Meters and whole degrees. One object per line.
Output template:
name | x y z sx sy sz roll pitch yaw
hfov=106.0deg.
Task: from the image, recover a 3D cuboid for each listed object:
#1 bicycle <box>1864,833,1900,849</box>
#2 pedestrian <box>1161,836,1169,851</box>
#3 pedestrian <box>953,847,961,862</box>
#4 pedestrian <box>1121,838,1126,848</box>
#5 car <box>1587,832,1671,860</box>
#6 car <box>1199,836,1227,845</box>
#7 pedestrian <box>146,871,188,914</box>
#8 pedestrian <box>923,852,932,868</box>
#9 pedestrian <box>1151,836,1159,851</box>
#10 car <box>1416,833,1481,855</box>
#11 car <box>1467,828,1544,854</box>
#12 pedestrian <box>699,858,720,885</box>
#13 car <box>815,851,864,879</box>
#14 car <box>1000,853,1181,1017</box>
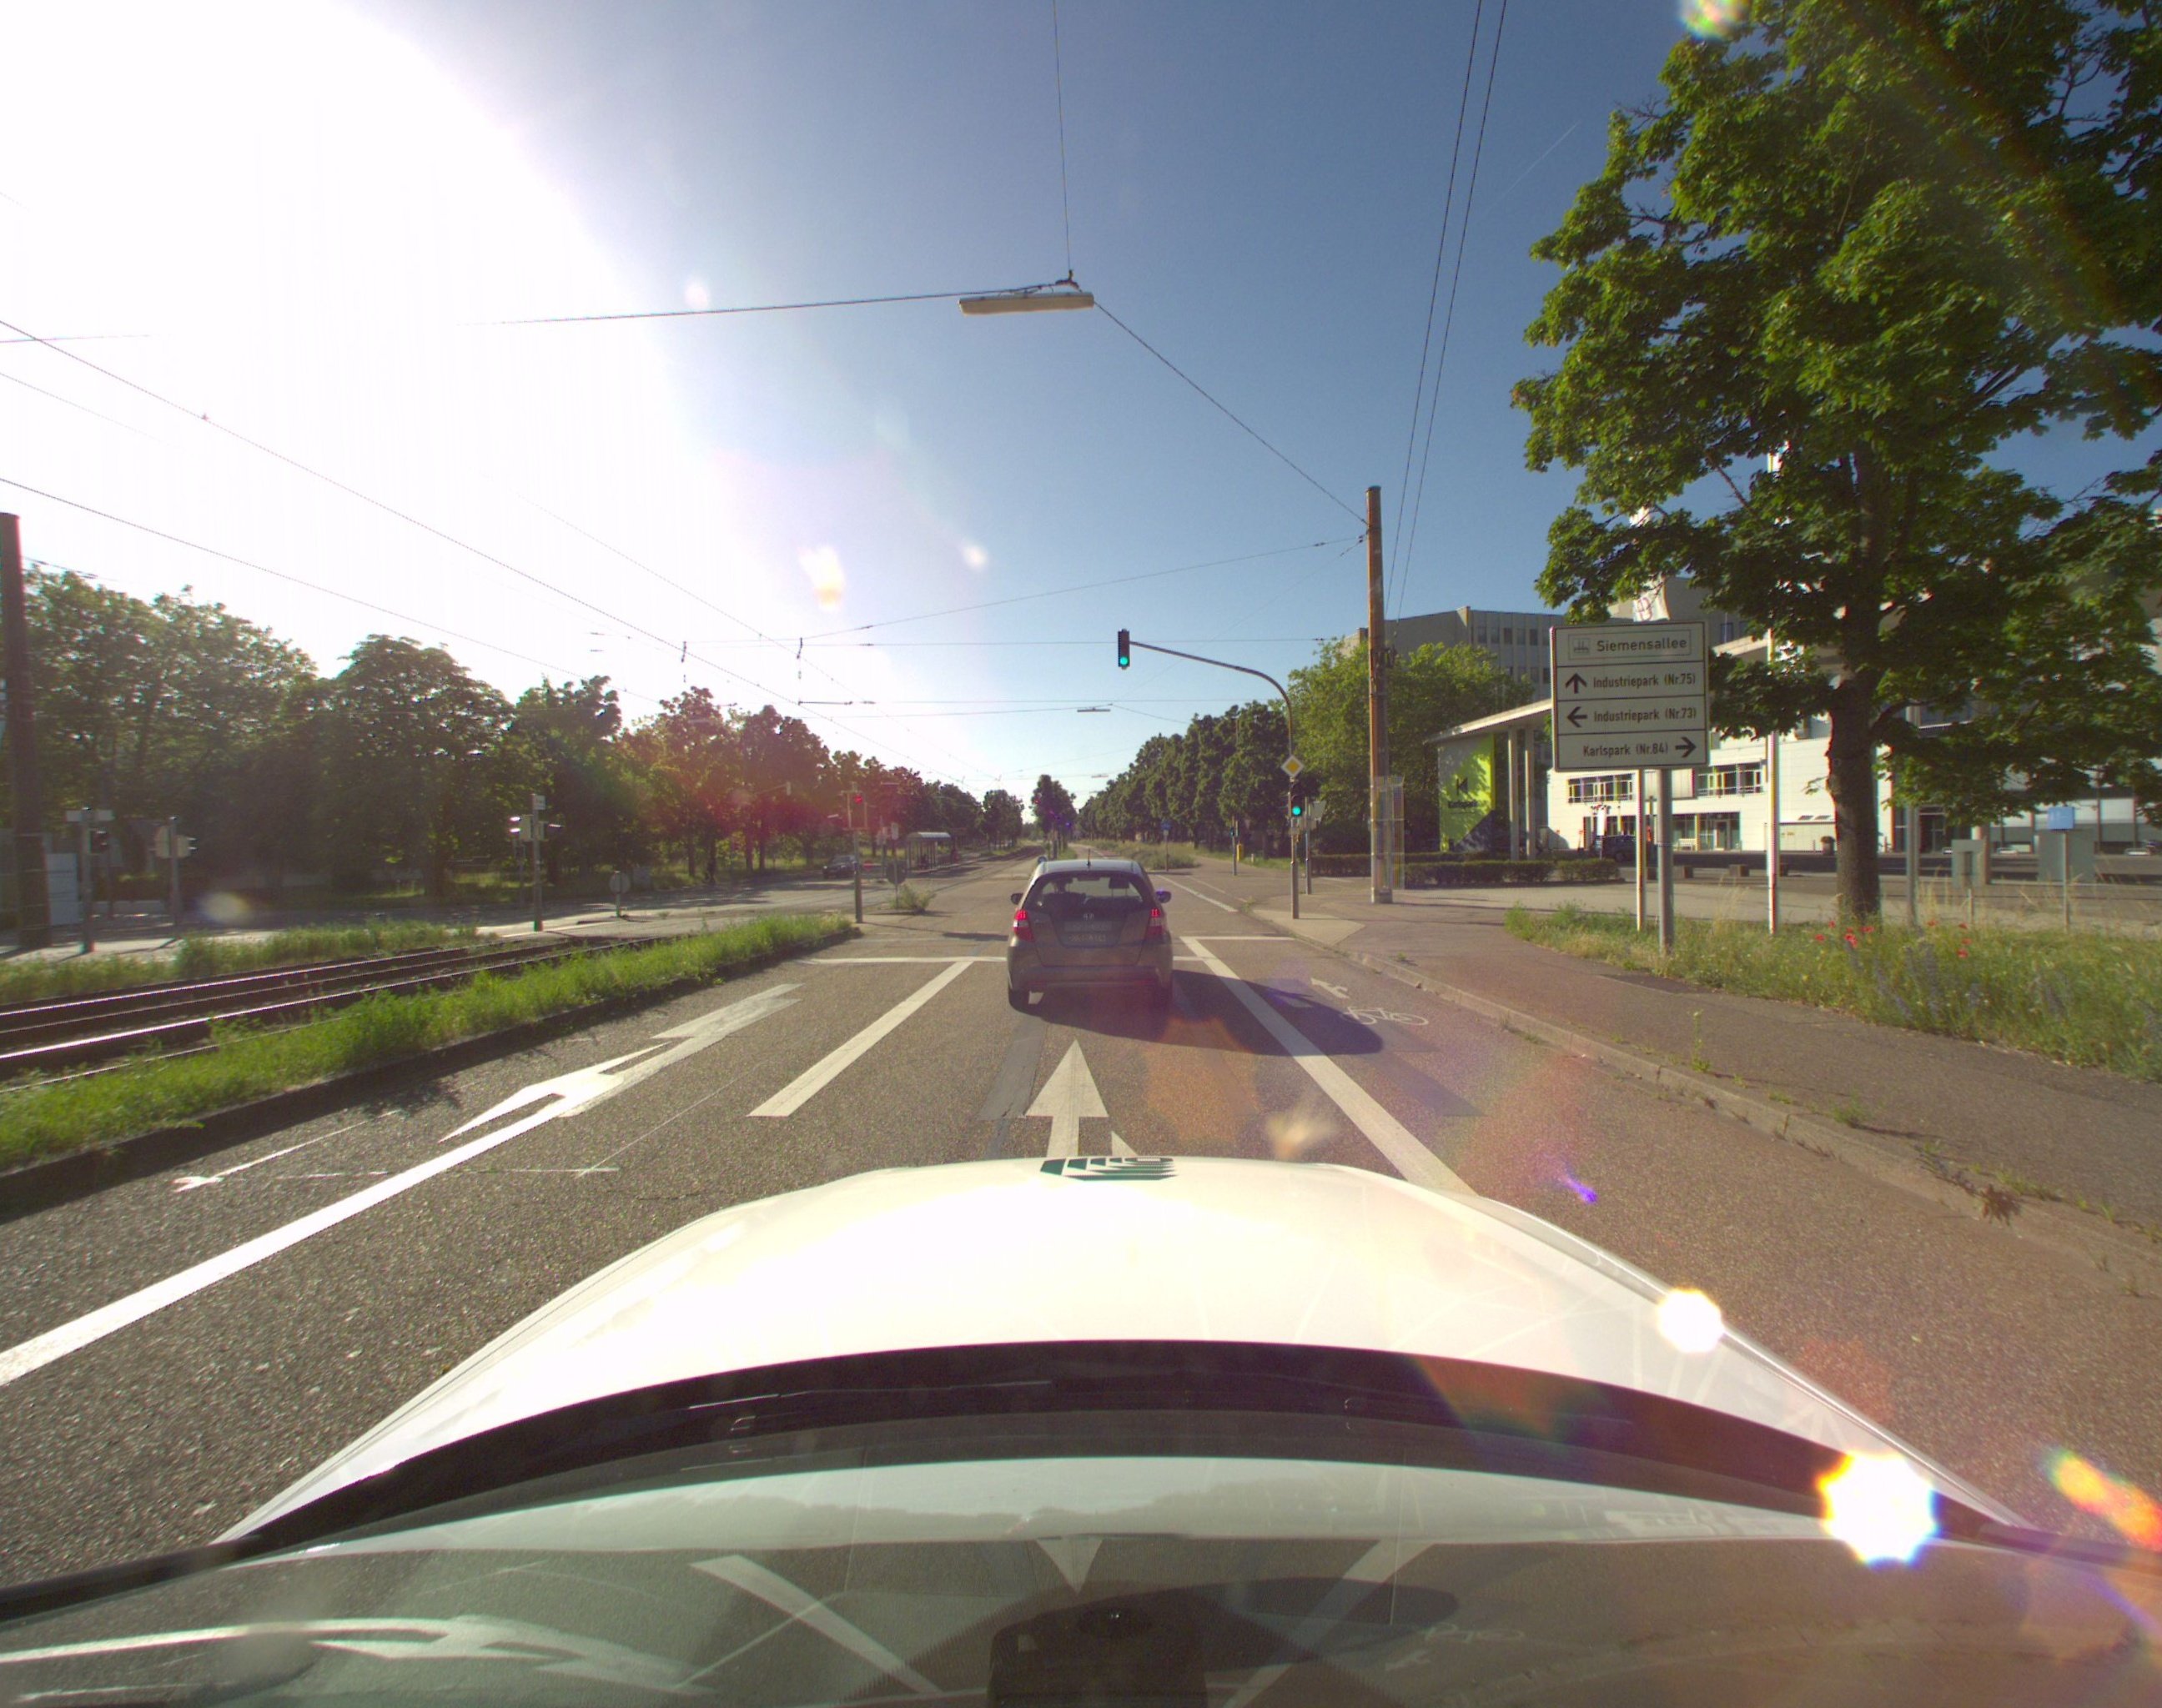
bicycle | 52.274 -0.835 53.187 0.565 1.004 1.614 -2 1 -13
pedestrian | 10.860 -1.367 104.875 0.880 1.884 0.875 -2 1 -2
pedestrian | -12.259 0.061 80.528 0.542 1.447 0.559 -2 0 1
pedestrian | 7.597 -2.019 146.302 0.723 1.690 0.821 -1 0 -1
car | 33.324 -0.505 49.587 3.984 1.578 1.949 -1 0 -8
car | 23.359 -2.362 144.192 4.623 1.555 1.997 -2 1 -5
pedestrian | -39.352 1.663 35.066 0.943 1.787 0.824 -2 1 15
pedestrian | -12.439 0.470 65.958 0.562 1.257 0.581 -4 0 1
pedestrian | 9.575 -1.348 104.864 0.880 1.884 0.875 -2 1 -2
car | 30.051 -0.840 66.610 4.448 1.686 1.892 -2 0 -4
car | 31.112 -0.973 59.718 4.888 1.757 2.082 -2 0 -14
pedestrian | -24.659 1.175 54.121 0.751 1.734 0.943 -1 1 30
car | -17.953 0.805 60.829 2.087 1.810 4.792 -4 1 0
car | 0.149 0.770 9.545 1.694 1.524 3.711 -1 0 2
